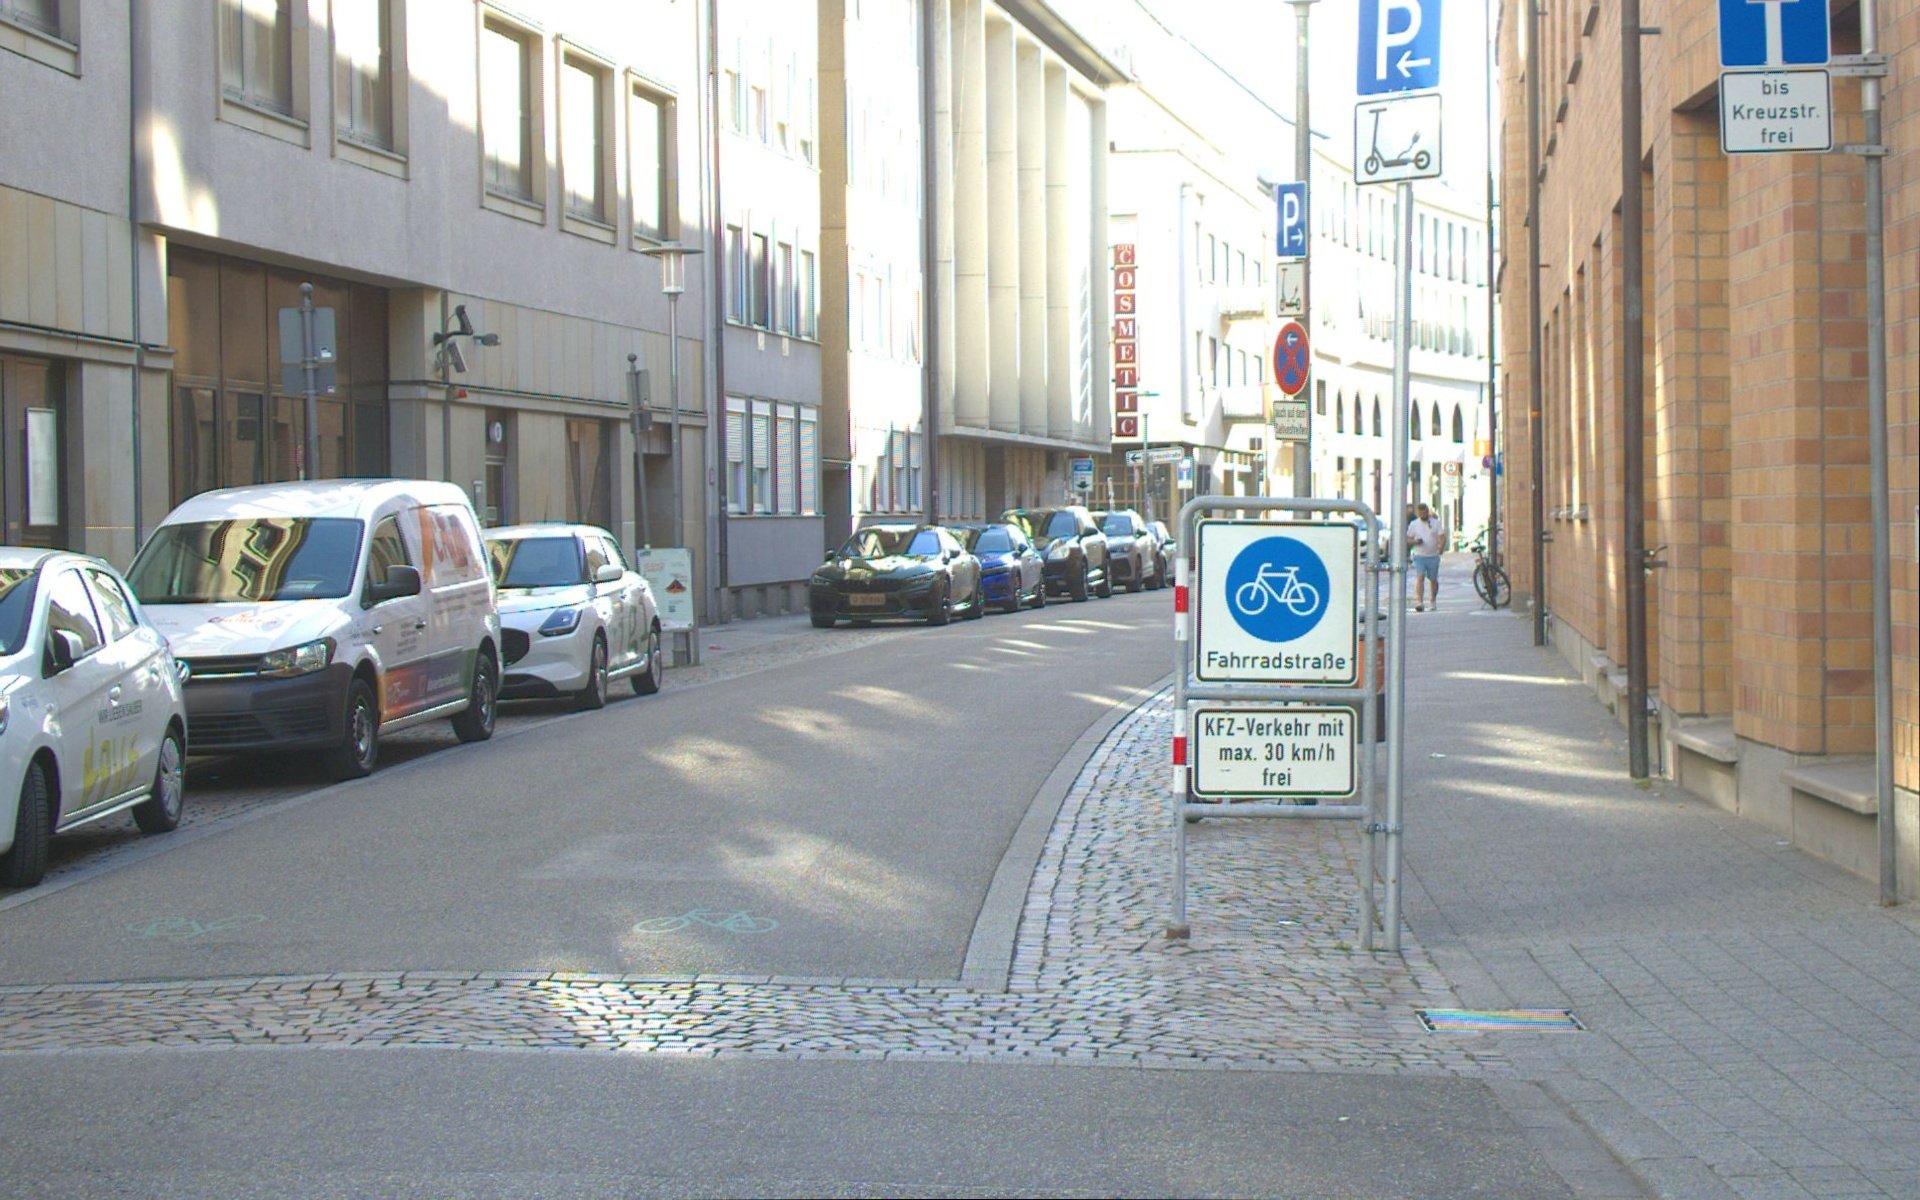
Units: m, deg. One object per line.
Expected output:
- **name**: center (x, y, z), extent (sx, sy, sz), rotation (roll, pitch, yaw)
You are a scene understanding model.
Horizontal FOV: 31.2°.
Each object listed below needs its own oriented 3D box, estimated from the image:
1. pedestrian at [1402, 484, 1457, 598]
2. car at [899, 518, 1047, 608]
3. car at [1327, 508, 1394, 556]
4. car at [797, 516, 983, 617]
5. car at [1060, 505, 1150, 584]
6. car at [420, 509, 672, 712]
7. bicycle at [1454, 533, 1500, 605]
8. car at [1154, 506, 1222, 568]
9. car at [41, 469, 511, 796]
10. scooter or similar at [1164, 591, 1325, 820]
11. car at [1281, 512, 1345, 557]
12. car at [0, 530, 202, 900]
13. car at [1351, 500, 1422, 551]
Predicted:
- **pedestrian**: center (7.207, -0.903, 52.828), extent (0.664, 1.724, 0.840), rotation (2, 1, -1)
- **car**: center (0.253, -0.616, 54.733), extent (1.725, 1.336, 3.999), rotation (-1, 1, 9)
- **car**: center (12.104, -2.059, 103.803), extent (1.690, 1.365, 3.616), rotation (-1, 1, 11)
- **car**: center (-0.939, -0.498, 48.433), extent (1.882, 1.327, 4.099), rotation (-1, 1, 9)
- **car**: center (2.883, -1.115, 67.894), extent (1.339, 1.489, 3.509), rotation (-1, 1, 9)
- **car**: center (-3.321, 0.040, 28.093), extent (1.271, 1.501, 3.401), rotation (-2, 1, 6)
- **bicycle**: center (7.387, -0.456, 49.149), extent (0.511, 0.990, 2.647), rotation (0, 1, 6)
- **car**: center (5.694, -1.574, 85.619), extent (1.339, 1.489, 3.346), rotation (-1, 1, 9)
- **car**: center (-4.207, 0.124, 21.903), extent (1.670, 1.812, 4.551), rotation (-2, 1, 5)
- **scooter or similar**: center (1.446, 0.532, 17.494), extent (0.771, 1.132, 0.269), rotation (2, 1, 2)
- **car**: center (11.329, -2.107, 110.237), extent (1.690, 1.365, 3.616), rotation (-1, 1, 11)
- **car**: center (-4.818, 0.468, 16.041), extent (1.670, 1.501, 3.794), rotation (-2, 1, 0)
- **car**: center (11.980, -2.110, 96.494), extent (1.690, 1.365, 3.616), rotation (-1, 1, 11)
